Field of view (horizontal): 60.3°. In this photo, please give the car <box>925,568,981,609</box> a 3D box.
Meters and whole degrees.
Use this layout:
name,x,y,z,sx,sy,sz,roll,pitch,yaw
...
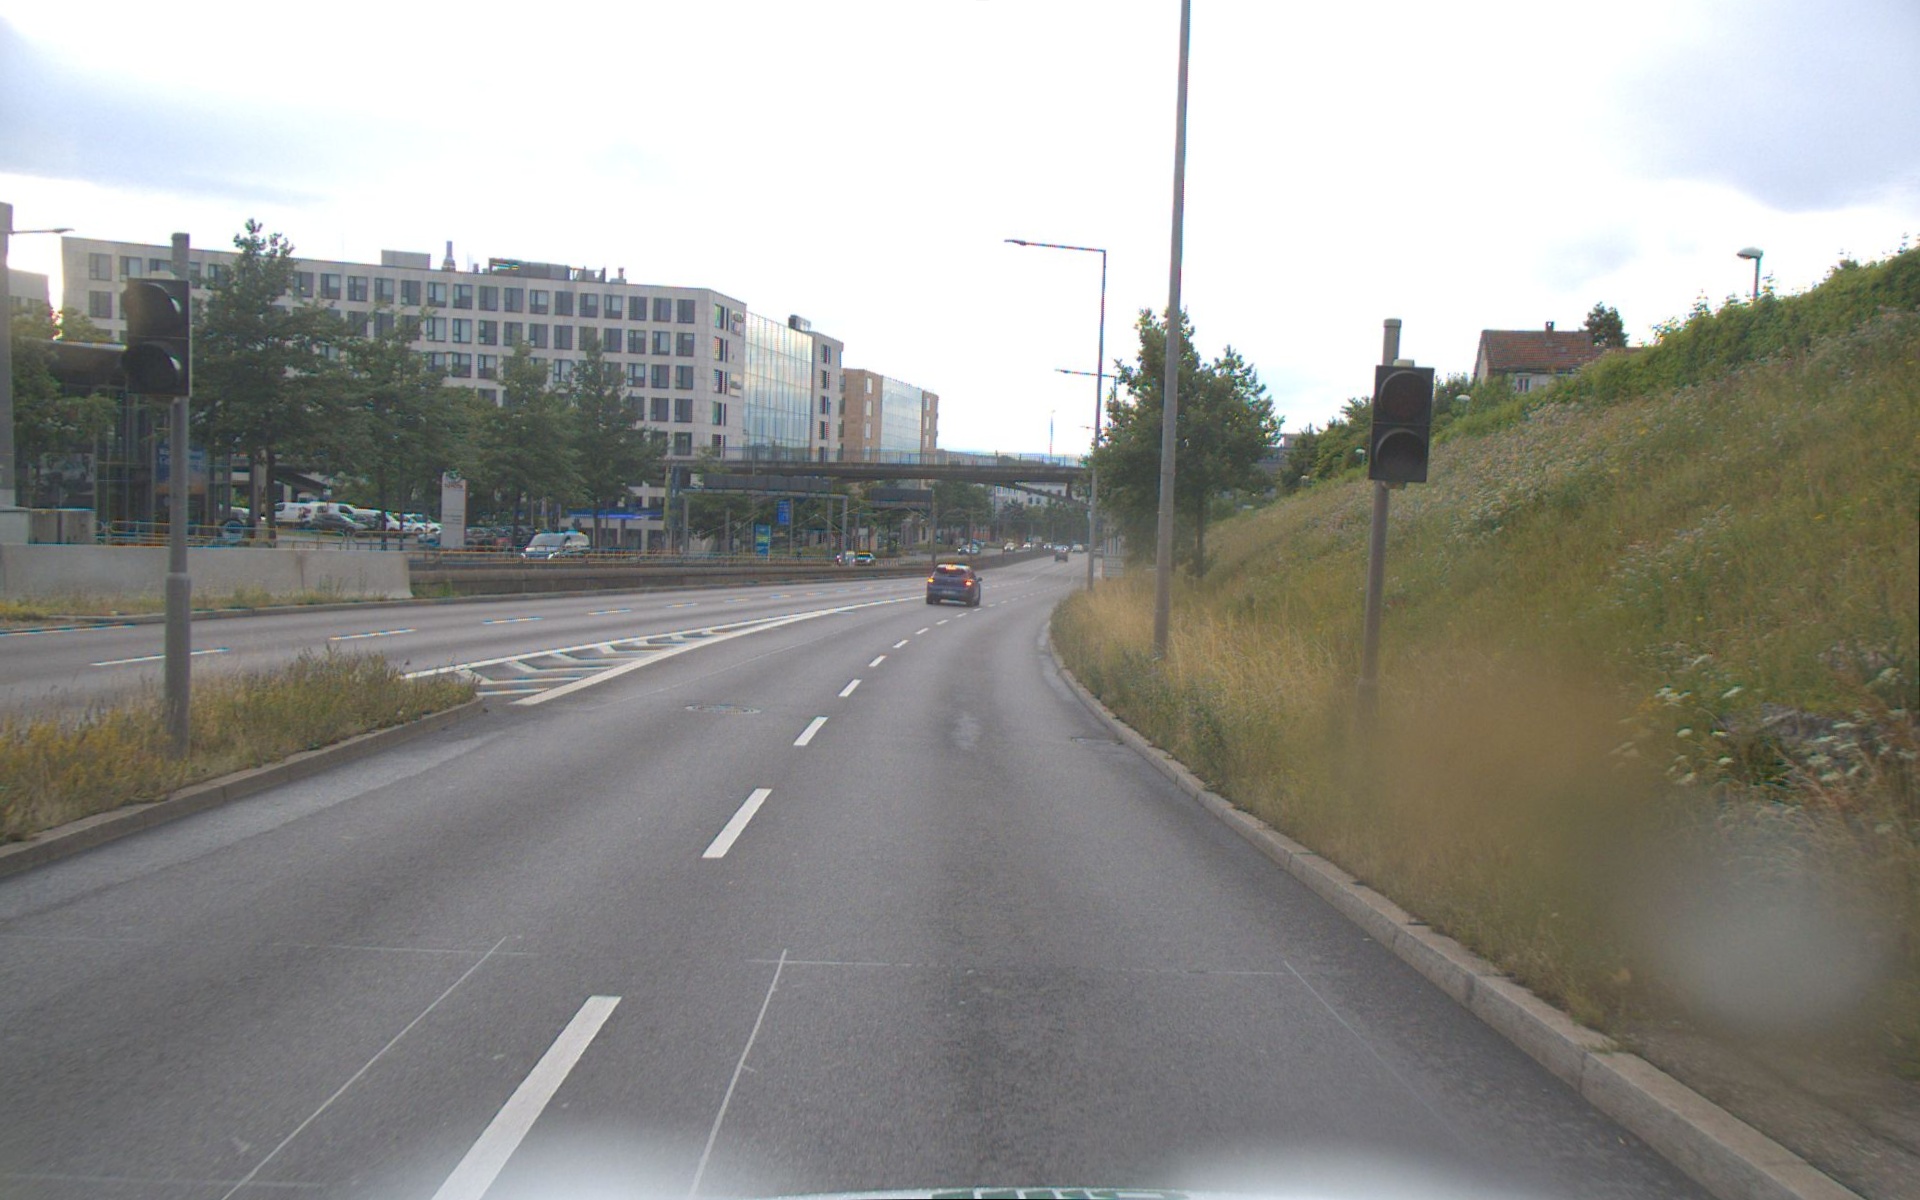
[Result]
name,x,y,z,sx,sy,sz,roll,pitch,yaw
car,-0.228,-0.454,61.365,1.712,1.444,3.481,2,1,6

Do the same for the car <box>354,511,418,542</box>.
name,x,y,z,sx,sy,sz,roll,pitch,yaw
car,-41.745,-5.344,120.333,3.903,1.907,2.003,5,4,11

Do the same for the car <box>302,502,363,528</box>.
name,x,y,z,sx,sy,sz,roll,pitch,yaw
car,-47.812,-6.484,126.038,3.905,1.678,1.823,5,4,3

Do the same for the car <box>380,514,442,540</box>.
name,x,y,z,sx,sy,sz,roll,pitch,yaw
car,-41.734,-5.557,125.750,3.903,1.678,2.003,5,4,11

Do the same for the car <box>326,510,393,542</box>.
name,x,y,z,sx,sy,sz,roll,pitch,yaw
car,-42.858,-5.256,118.056,3.902,2.048,2.002,4,1,11

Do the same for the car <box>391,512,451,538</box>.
name,x,y,z,sx,sy,sz,roll,pitch,yaw
car,-41.822,-5.811,128.319,3.903,1.678,2.003,5,4,11

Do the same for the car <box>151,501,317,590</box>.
name,x,y,z,sx,sy,sz,roll,pitch,yaw
car,-15.177,-1.192,34.749,1.653,1.617,3.552,4,4,4

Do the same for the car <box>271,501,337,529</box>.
name,x,y,z,sx,sy,sz,roll,pitch,yaw
car,-47.469,-6.135,119.684,3.904,1.678,2.002,5,4,4

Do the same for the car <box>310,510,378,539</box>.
name,x,y,z,sx,sy,sz,roll,pitch,yaw
car,-42.966,-5.254,115.369,3.904,1.678,2.002,5,4,4

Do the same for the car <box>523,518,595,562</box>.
name,x,y,z,sx,sy,sz,roll,pitch,yaw
car,-18.537,-2.802,76.578,1.952,1.779,4.004,5,4,5

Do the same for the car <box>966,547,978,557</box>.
name,x,y,z,sx,sy,sz,roll,pitch,yaw
car,1.792,-7.311,250.212,1.486,1.444,3.481,3,2,6

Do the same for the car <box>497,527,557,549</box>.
name,x,y,z,sx,sy,sz,roll,pitch,yaw
car,-32.514,-4.647,124.286,3.903,1.377,1.851,5,2,8

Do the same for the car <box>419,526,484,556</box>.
name,x,y,z,sx,sy,sz,roll,pitch,yaw
car,-34.378,-3.980,111.861,3.934,1.679,1.986,4,2,-24

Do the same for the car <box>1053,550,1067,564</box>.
name,x,y,z,sx,sy,sz,roll,pitch,yaw
car,14.725,-6.373,244.054,1.824,1.779,4.004,4,4,2
